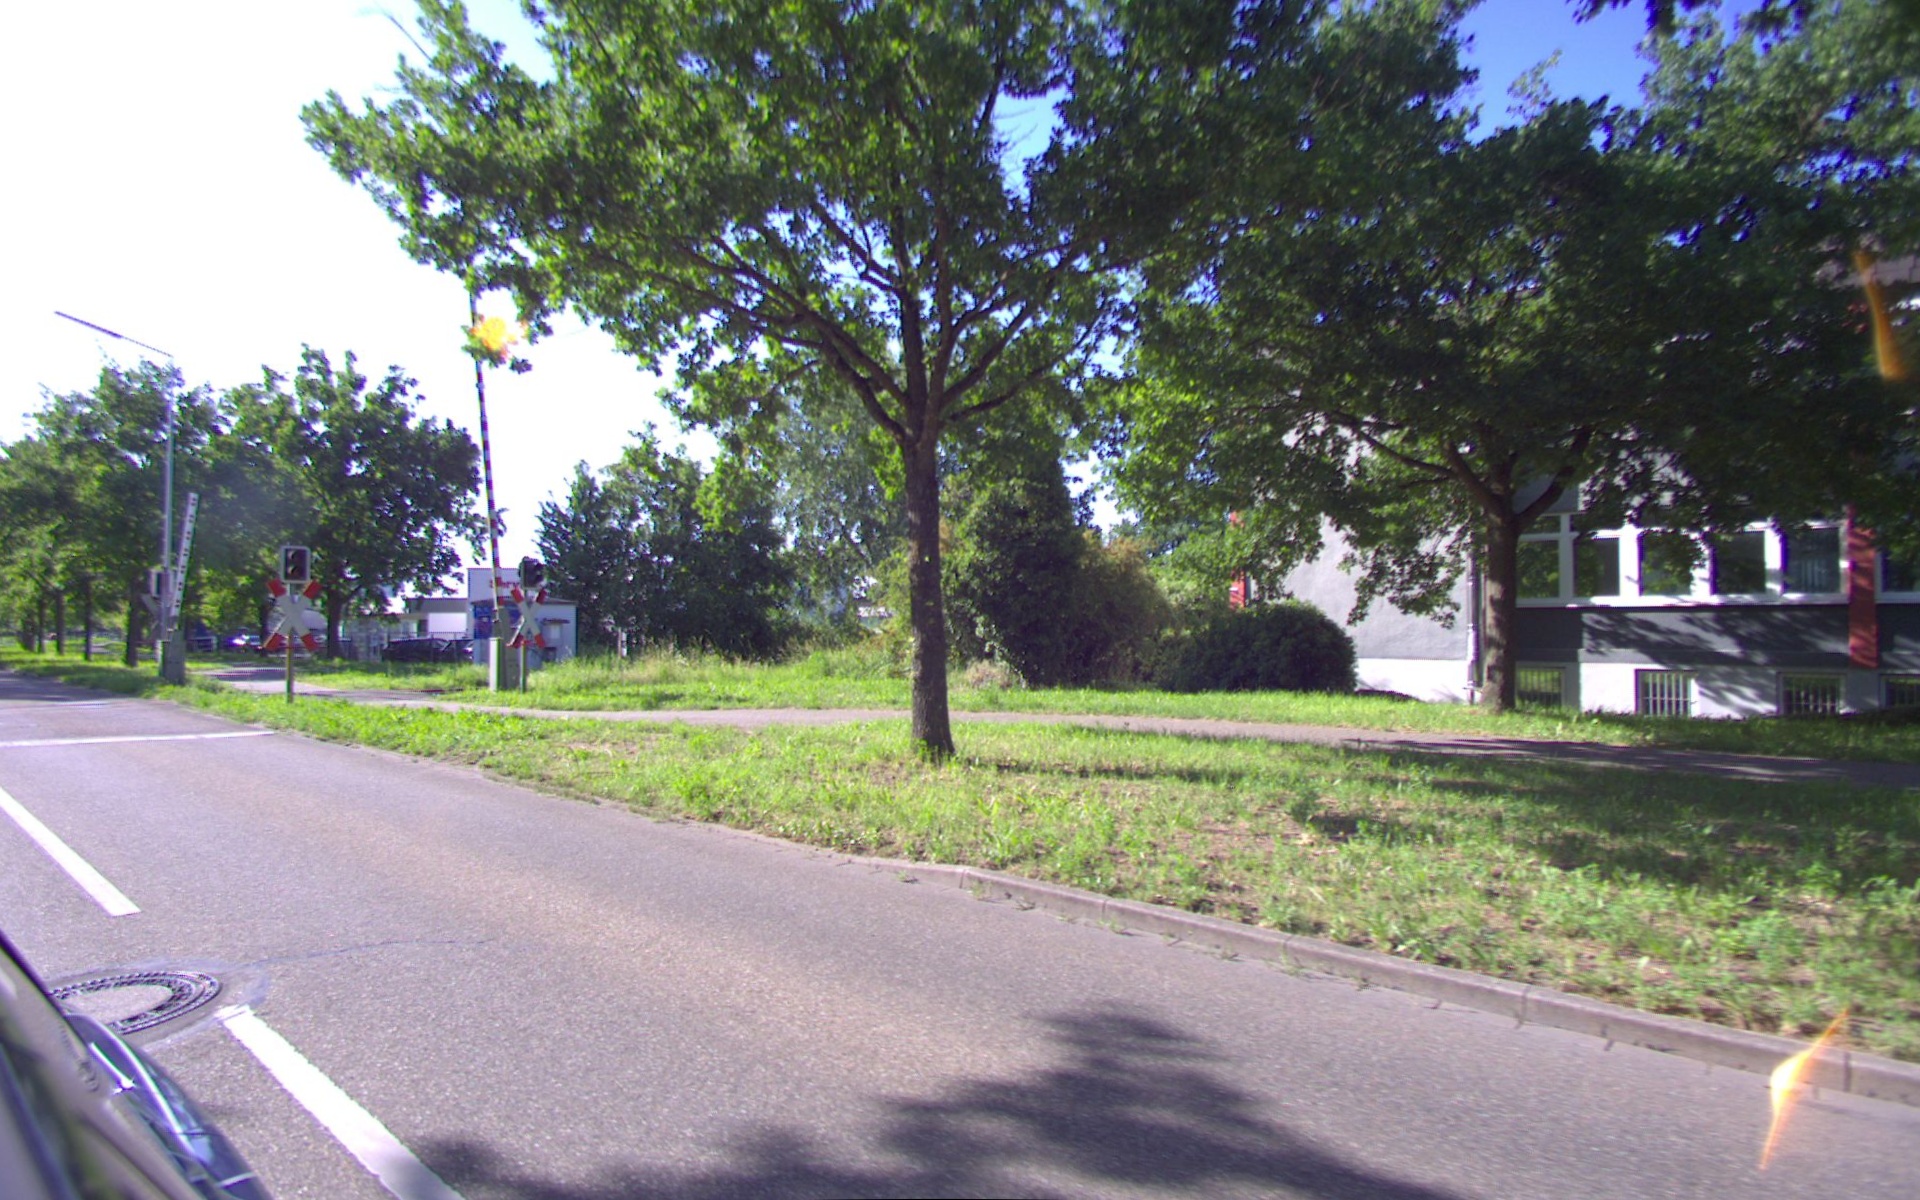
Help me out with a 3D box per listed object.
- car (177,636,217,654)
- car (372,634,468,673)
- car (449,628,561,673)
[{"bbox_3d":[-64.630,3.769,85.756,2.531,1.481,1.430,1,-2,-28],"label":"car"},{"bbox_3d":[-28.270,2.779,53.047,1.997,1.815,3.950,-2,-1,37],"label":"car"},{"bbox_3d":[-20.534,2.231,45.768,1.998,1.815,4.148,-2,-1,39],"label":"car"}]
